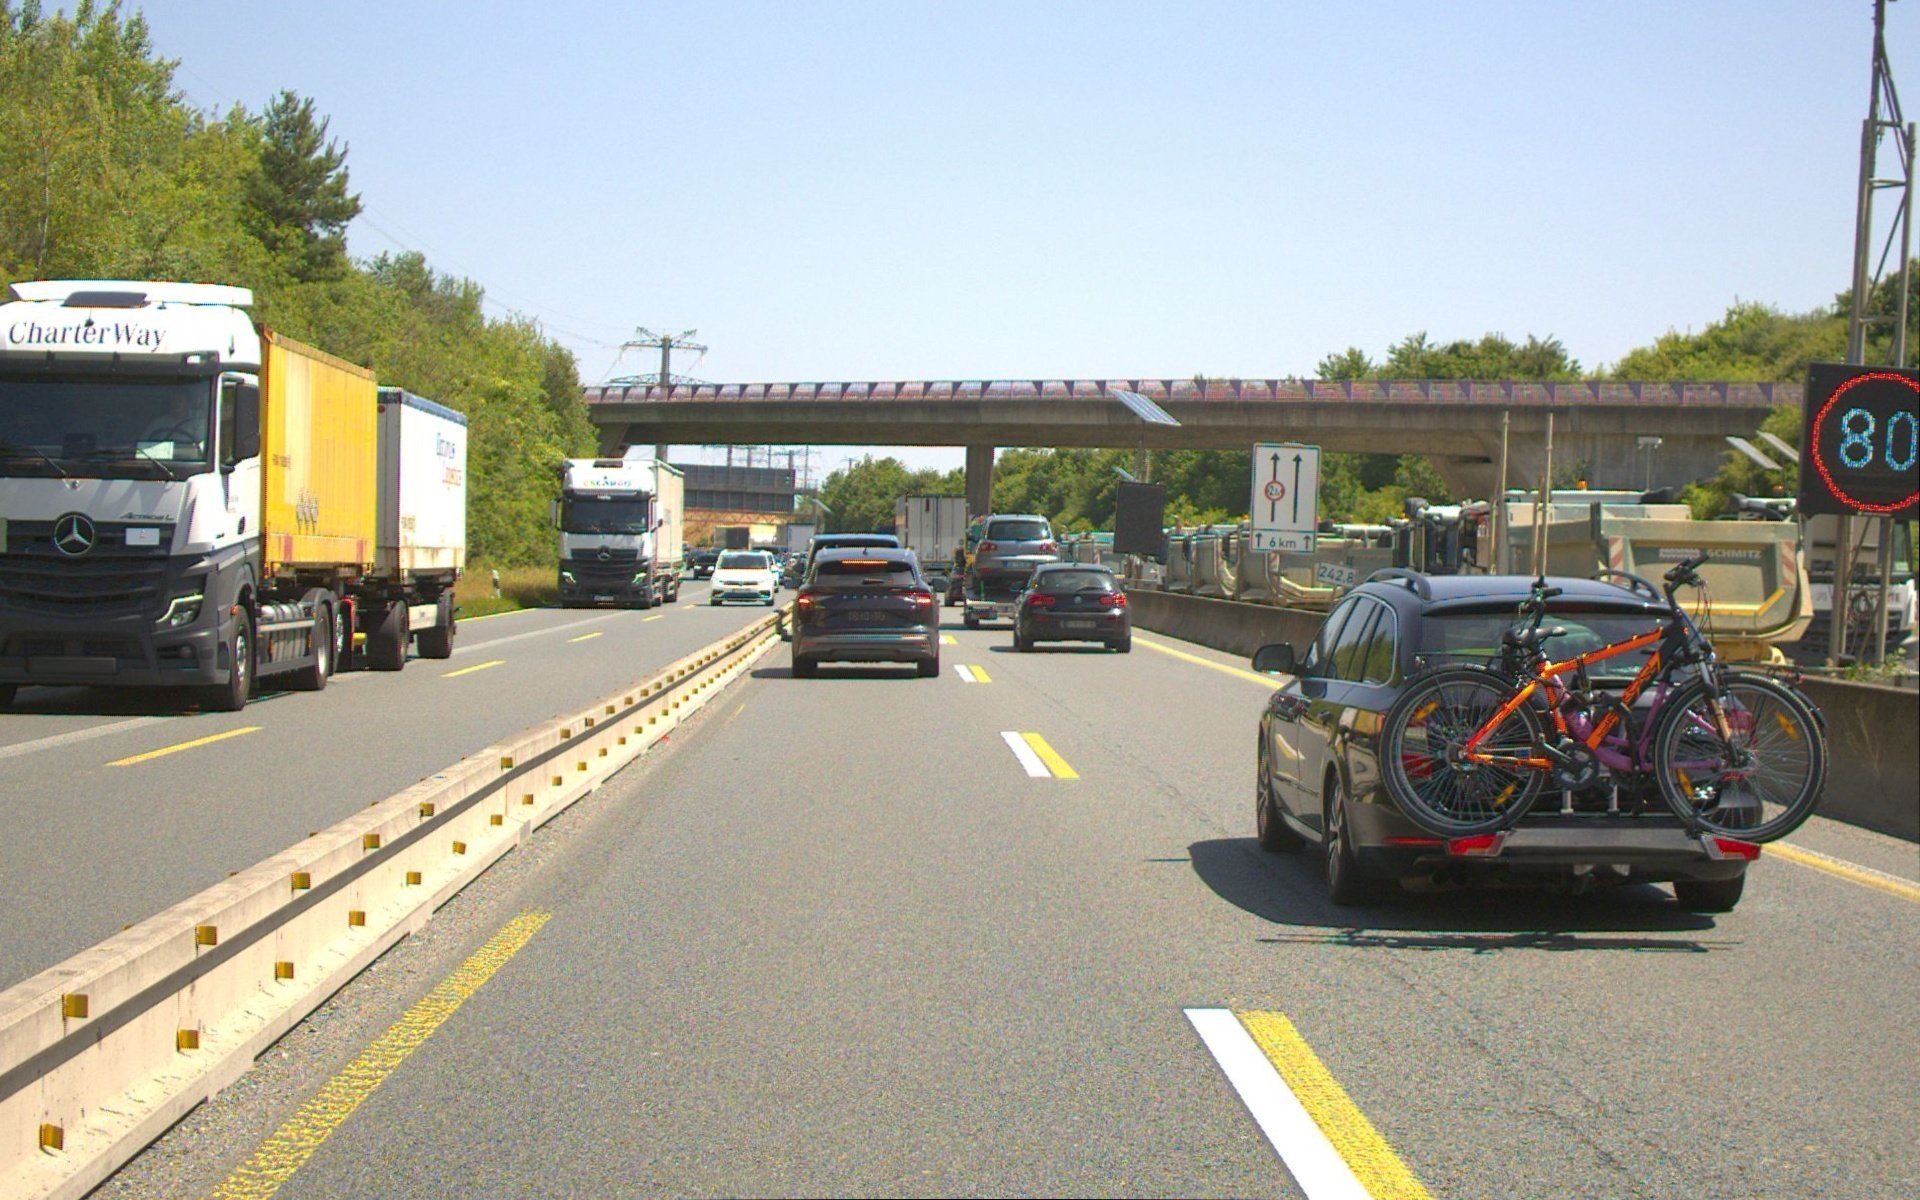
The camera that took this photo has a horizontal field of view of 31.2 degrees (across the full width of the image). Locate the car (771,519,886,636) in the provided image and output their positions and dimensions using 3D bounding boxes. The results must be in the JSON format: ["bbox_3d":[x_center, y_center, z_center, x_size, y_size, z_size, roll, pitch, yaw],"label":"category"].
[{"bbox_3d":[-2.312,-0.414,61.316,1.899,1.962,4.276,1,1,-1],"label":"car"}]

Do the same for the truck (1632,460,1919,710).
[{"bbox_3d":[12.677,-0.273,52.969,2.687,3.499,8.381,1,1,-2],"label":"truck"}]

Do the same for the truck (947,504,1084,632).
[{"bbox_3d":[1.112,-0.730,73.708,2.405,2.549,7.501,1,1,-3],"label":"truck"}]

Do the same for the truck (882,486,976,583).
[{"bbox_3d":[-1.363,-2.715,143.750,3.292,3.832,10.111,1,1,-4],"label":"truck"}]

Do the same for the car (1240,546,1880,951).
[{"bbox_3d":[2.464,0.542,15.430,1.899,1.485,4.948,1,0,-1],"label":"car"}]

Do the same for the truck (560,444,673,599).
[{"bbox_3d":[-9.463,-2.146,95.603,2.409,3.978,10.353,2,1,-3],"label":"truck"}]

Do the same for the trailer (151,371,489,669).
[{"bbox_3d":[-8.005,-0.991,44.188,2.650,3.325,8.919,3,1,-1],"label":"trailer"}]

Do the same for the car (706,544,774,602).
[{"bbox_3d":[-6.423,-0.777,100.508,1.824,1.625,4.151,1,0,-2],"label":"car"}]

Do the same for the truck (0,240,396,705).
[{"bbox_3d":[-7.867,-1.205,34.912,2.649,3.978,9.651,3,1,-1],"label":"truck"}]

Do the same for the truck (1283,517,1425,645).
[{"bbox_3d":[10.929,-0.569,96.276,2.687,3.366,9.603,1,1,-1],"label":"truck"}]

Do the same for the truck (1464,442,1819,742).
[{"bbox_3d":[8.743,-0.161,45.271,2.533,3.499,9.097,1,1,-2],"label":"truck"}]

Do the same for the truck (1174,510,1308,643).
[{"bbox_3d":[7.927,-0.707,98.065,2.687,3.545,9.407,1,1,-2],"label":"truck"}]

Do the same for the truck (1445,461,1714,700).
[{"bbox_3d":[9.834,-0.353,55.525,2.533,3.499,8.945,1,1,-1],"label":"truck"}]

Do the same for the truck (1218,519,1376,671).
[{"bbox_3d":[8.317,-0.186,85.979,2.687,3.545,9.603,1,1,-2],"label":"truck"}]

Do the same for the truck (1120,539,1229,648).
[{"bbox_3d":[7.343,-0.286,118.774,2.687,3.545,9.326,1,1,-3],"label":"truck"}]

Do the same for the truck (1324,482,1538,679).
[{"bbox_3d":[9.103,-0.432,67.566,2.538,3.545,9.603,1,1,-2],"label":"truck"}]

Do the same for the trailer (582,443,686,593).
[{"bbox_3d":[-9.896,-2.461,104.987,2.637,4.298,8.449,2,1,-3],"label":"trailer"}]

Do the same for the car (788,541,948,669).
[{"bbox_3d":[-1.140,0.039,43.546,1.899,1.500,4.276,1,1,-1],"label":"car"}]

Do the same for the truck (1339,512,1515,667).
[{"bbox_3d":[11.372,-0.306,84.635,2.687,3.545,9.603,1,1,-2],"label":"truck"}]

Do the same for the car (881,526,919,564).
[{"bbox_3d":[-3.120,-2.856,179.155,1.899,1.962,4.276,1,1,-1],"label":"car"}]

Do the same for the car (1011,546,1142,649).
[{"bbox_3d":[1.850,-0.061,55.860,1.899,1.580,4.276,1,1,-1],"label":"car"}]

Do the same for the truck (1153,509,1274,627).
[{"bbox_3d":[8.012,-1.038,109.729,2.687,3.545,9.326,1,1,-3],"label":"truck"}]

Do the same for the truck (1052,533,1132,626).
[{"bbox_3d":[5.666,-0.939,148.761,2.687,3.843,9.326,1,1,-2],"label":"truck"}]

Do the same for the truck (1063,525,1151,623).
[{"bbox_3d":[5.821,-1.066,137.232,2.687,3.748,9.326,1,1,-2],"label":"truck"}]
